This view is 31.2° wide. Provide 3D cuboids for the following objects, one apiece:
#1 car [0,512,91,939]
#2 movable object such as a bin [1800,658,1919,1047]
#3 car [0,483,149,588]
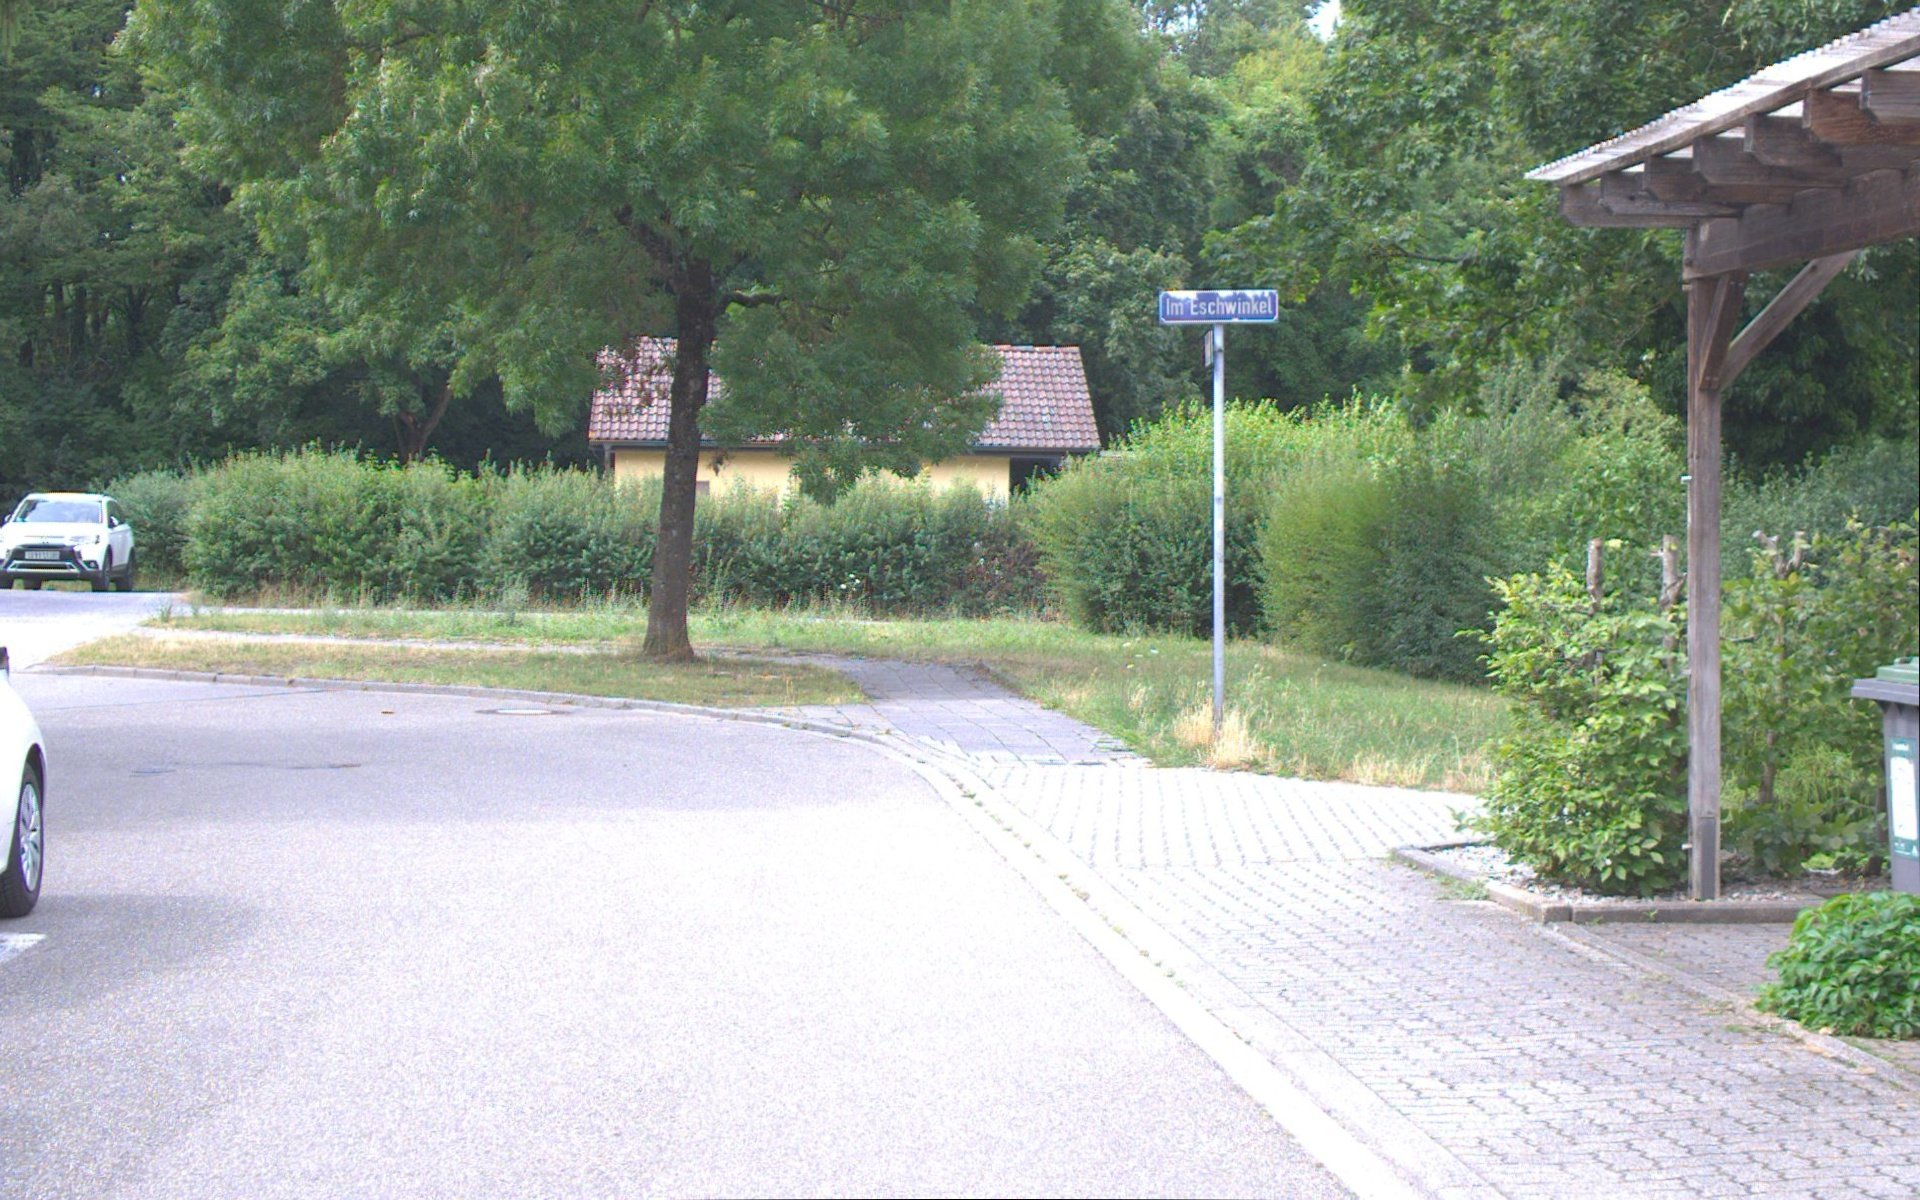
[{"bbox_3d":[-4.299,0.454,11.921,1.791,1.526,4.141,0,1,-4],"label":"car"},{"bbox_3d":[2.936,0.718,10.092,0.699,1.068,0.712,-1,1,-8],"label":"movable object such as a bin"},{"bbox_3d":[-14.801,-1.080,57.077,1.937,1.654,4.341,1,1,-4],"label":"car"}]
